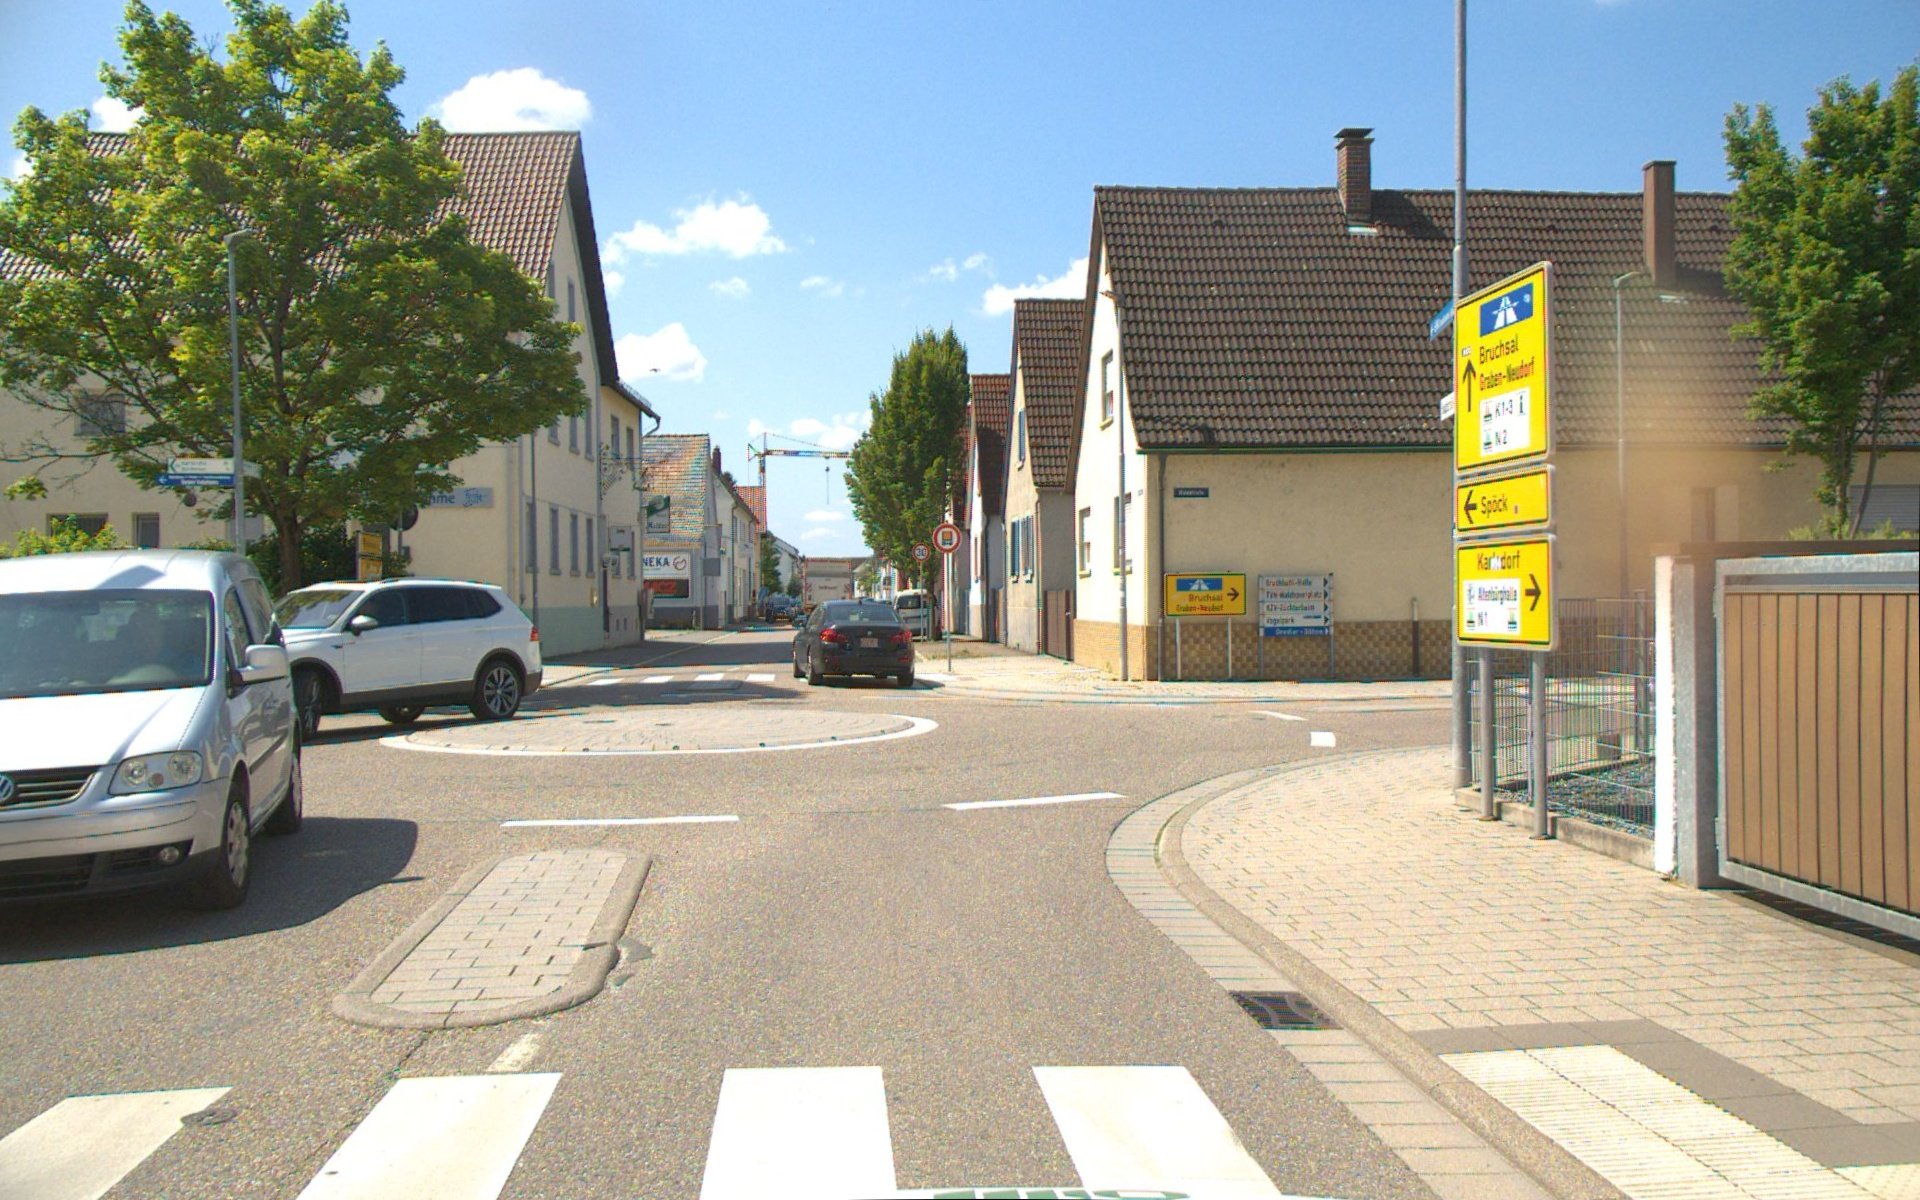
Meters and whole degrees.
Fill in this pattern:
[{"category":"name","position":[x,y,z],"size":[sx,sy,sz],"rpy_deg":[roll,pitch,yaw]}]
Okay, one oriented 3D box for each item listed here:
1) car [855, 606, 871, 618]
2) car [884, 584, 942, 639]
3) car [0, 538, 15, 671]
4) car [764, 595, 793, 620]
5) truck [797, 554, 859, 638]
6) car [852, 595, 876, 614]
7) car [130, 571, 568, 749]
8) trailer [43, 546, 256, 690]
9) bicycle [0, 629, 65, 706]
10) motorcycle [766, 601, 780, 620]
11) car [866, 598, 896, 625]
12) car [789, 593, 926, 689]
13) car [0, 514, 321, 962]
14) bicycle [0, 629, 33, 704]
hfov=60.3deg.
[{"category":"car","position":[-10.148,1.242,172.580],"size":[1.685,1.291,4.153],"rpy_deg":[0,0,-4]},{"category":"car","position":[-1.691,0.399,58.611],"size":[1.686,1.821,4.138],"rpy_deg":[-2,0,-6]},{"category":"car","position":[-19.640,0.090,30.106],"size":[1.898,2.612,5.643],"rpy_deg":[1,0,-4]},{"category":"car","position":[-11.977,0.491,109.255],"size":[1.774,1.617,3.996],"rpy_deg":[0,0,-5]},{"category":"truck","position":[-7.151,-0.173,90.918],"size":[3.082,4.325,9.296],"rpy_deg":[1,-1,-3]},{"category":"car","position":[-7.181,0.359,123.551],"size":[1.685,1.379,4.153],"rpy_deg":[0,0,-4]},{"category":"car","position":[-6.673,0.566,18.611],"size":[1.830,1.740,4.535],"rpy_deg":[-1,0,29]},{"category":"trailer","position":[-14.503,0.296,29.910],"size":[1.842,2.376,4.520],"rpy_deg":[1,0,-4]},{"category":"bicycle","position":[-13.986,0.998,24.965],"size":[0.393,1.021,1.974],"rpy_deg":[-1,2,-16]},{"category":"motorcycle","position":[-11.907,0.682,105.246],"size":[0.830,1.190,2.466],"rpy_deg":[1,-1,-6]},{"category":"car","position":[-4.557,0.636,95.356],"size":[1.685,1.487,4.154],"rpy_deg":[0,0,-3]},{"category":"car","position":[-1.939,0.673,29.858],"size":[1.868,1.591,4.463],"rpy_deg":[0,0,-12]},{"category":"car","position":[-4.657,0.598,9.046],"size":[1.743,1.853,4.421],"rpy_deg":[-2,0,-17]},{"category":"bicycle","position":[-14.417,0.990,24.844],"size":[0.393,1.021,1.974],"rpy_deg":[-1,2,-16]}]
